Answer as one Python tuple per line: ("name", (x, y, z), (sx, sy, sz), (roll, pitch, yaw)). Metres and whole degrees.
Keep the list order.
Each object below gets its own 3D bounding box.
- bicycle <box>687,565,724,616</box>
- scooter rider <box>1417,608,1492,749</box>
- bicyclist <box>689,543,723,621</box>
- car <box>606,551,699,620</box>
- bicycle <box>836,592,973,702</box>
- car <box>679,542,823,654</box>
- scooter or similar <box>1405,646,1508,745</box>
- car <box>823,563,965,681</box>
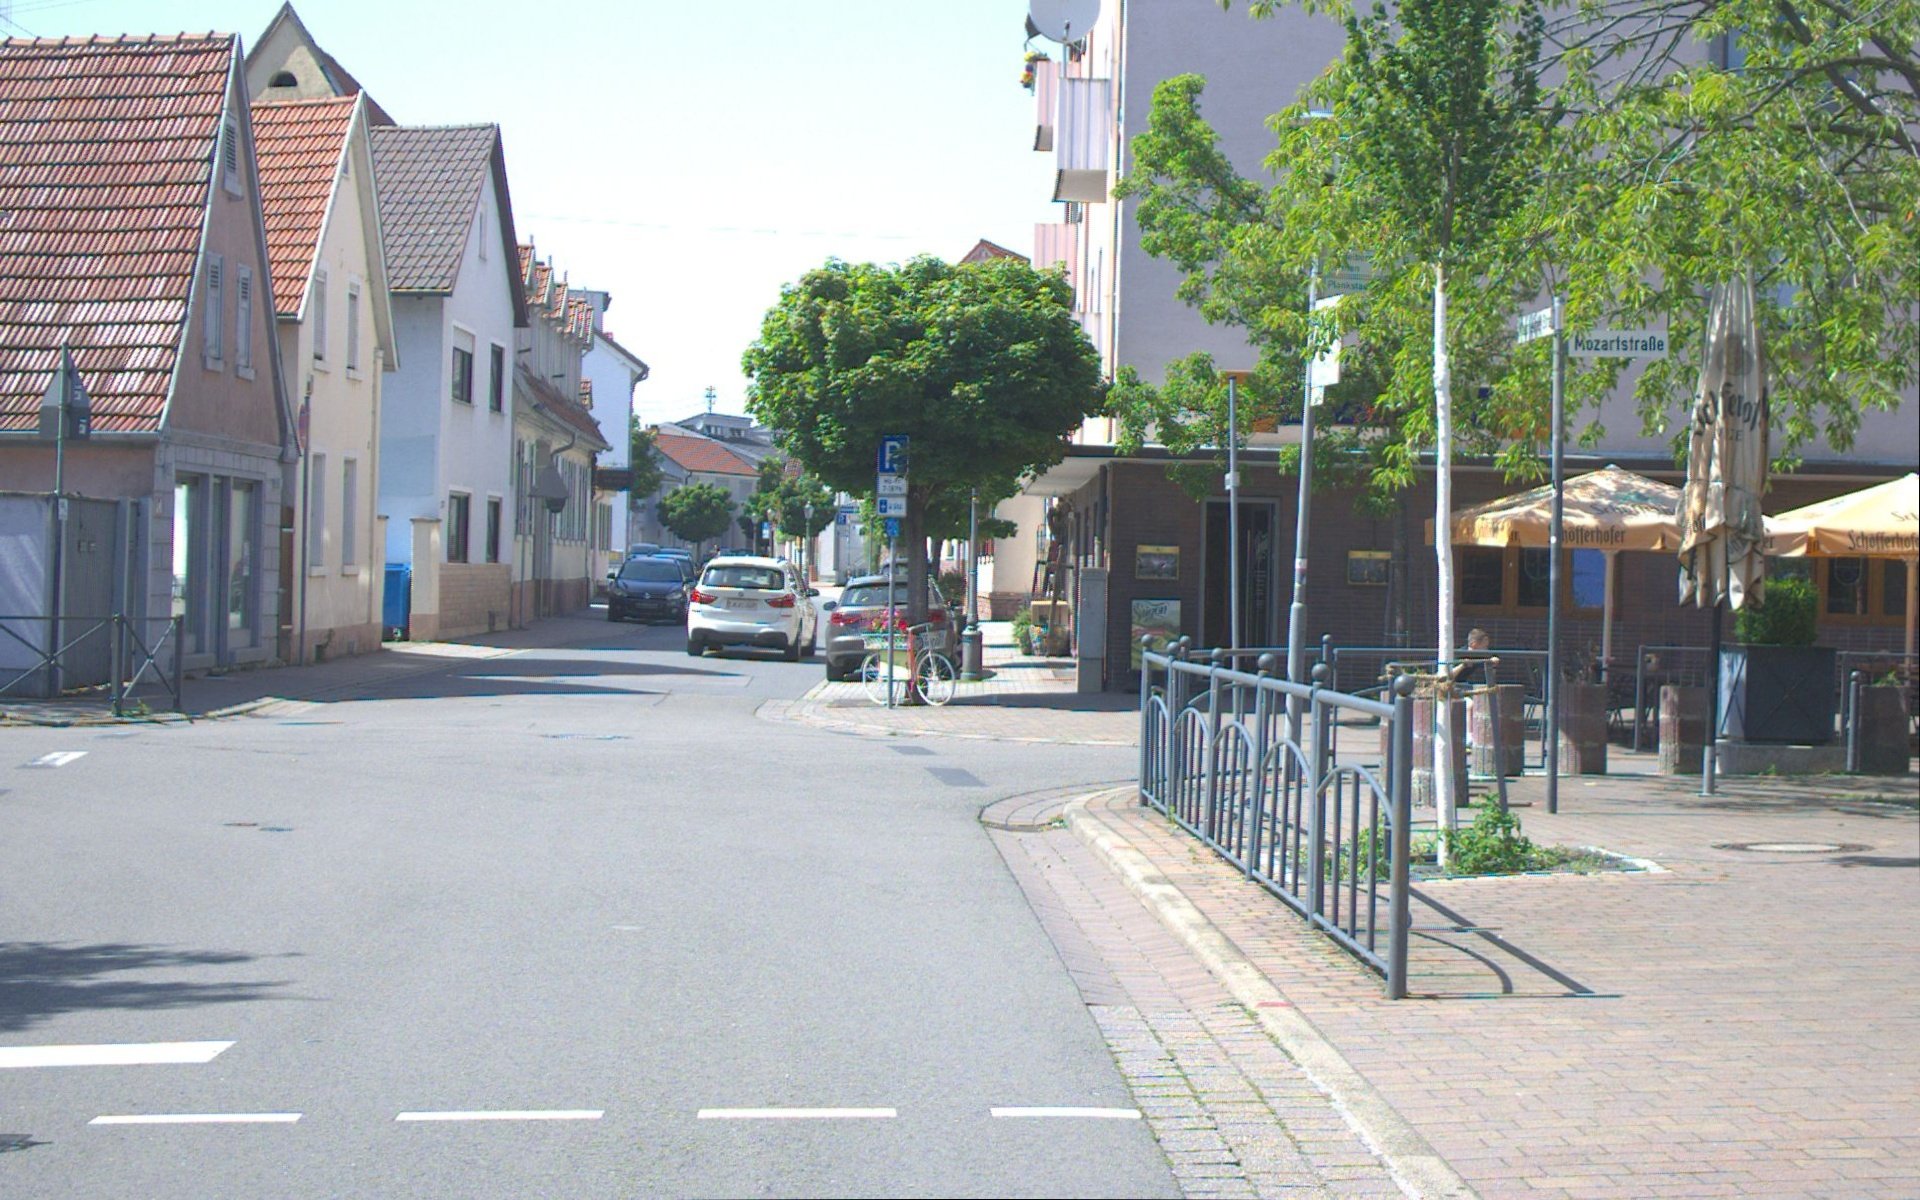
("bicycle", (-5.483, -0.210, 74.025), (0.674, 1.090, 1.896), (0, 1, -1))
("scooter rider", (4.579, 0.719, 31.818), (0.516, 1.281, 0.418), (1, 1, -41))
("bicyclist", (-5.476, -0.390, 74.102), (0.669, 1.685, 0.761), (0, 0, -1))
("car", (-6.992, -0.340, 78.453), (1.714, 1.512, 3.786), (1, 1, 0))
("bicycle", (-0.635, 0.525, 38.980), (0.525, 1.189, 1.674), (1, 1, -44))
("car", (-3.352, -0.071, 55.709), (1.834, 1.646, 4.000), (3, 1, 3))
("scooter or similar", (4.590, 0.880, 31.806), (0.379, 0.870, 0.890), (1, 1, -41))
("car", (-0.874, 0.277, 47.751), (1.805, 1.496, 4.000), (1, 1, 1))
